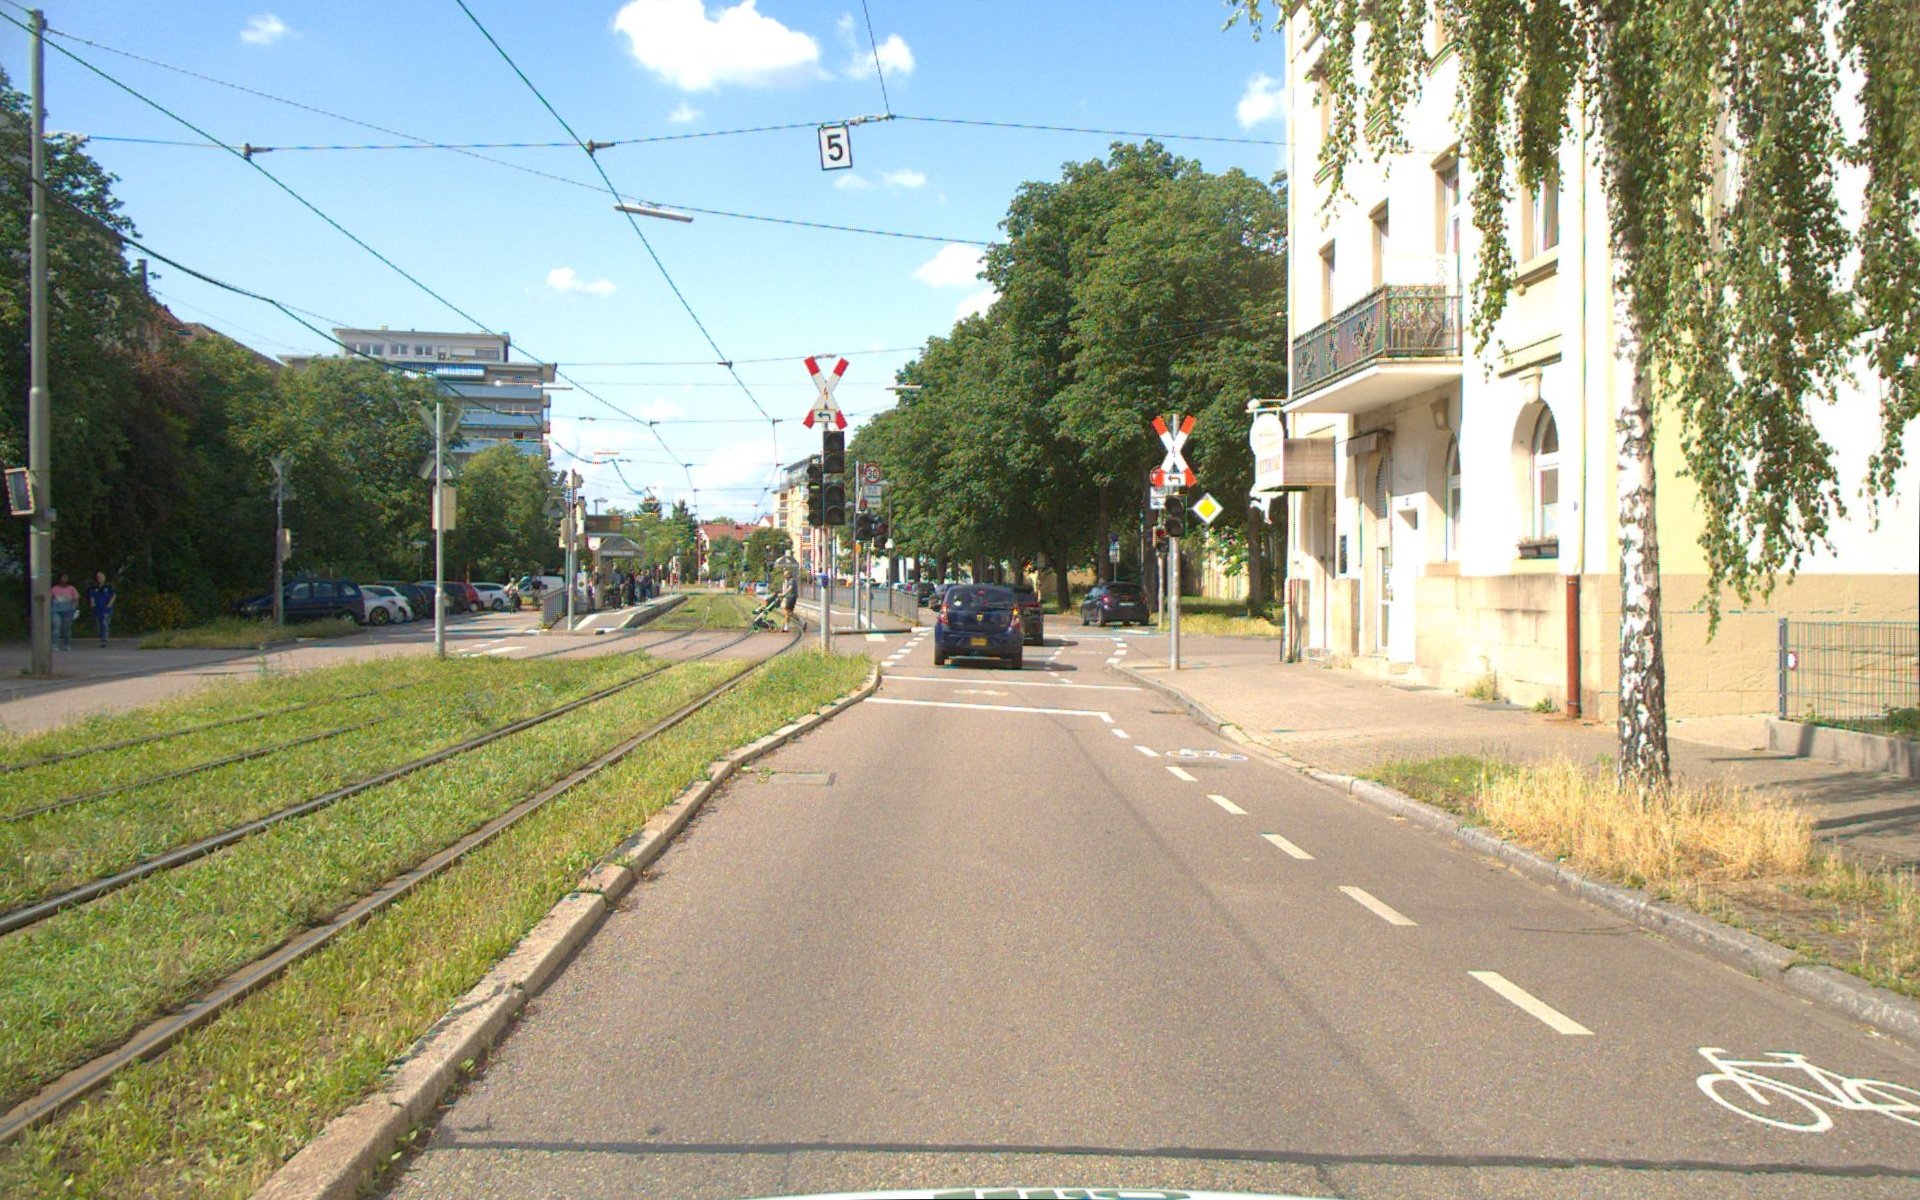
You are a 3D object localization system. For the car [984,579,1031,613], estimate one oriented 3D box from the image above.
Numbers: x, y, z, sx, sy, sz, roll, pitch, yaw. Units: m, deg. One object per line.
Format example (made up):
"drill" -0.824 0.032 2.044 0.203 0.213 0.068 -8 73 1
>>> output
"car" 2.173 -0.206 76.463 1.824 1.470 3.998 -2 1 -3

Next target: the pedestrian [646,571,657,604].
"pedestrian" -19.323 -0.810 103.480 0.649 2.049 0.801 0 0 -13

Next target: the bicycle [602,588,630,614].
"bicycle" -14.074 0.029 67.636 0.672 0.991 1.772 -3 1 2

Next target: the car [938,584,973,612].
"car" -0.253 -0.115 92.446 1.814 1.542 3.998 0 1 -3

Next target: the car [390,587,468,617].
"car" -24.461 0.076 76.268 1.427 1.332 3.234 0 1 36

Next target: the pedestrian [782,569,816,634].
"pedestrian" -4.626 0.038 47.509 0.854 1.806 1.002 -2 0 -8

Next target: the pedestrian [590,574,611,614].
"pedestrian" -14.777 -0.259 67.946 0.650 1.597 0.686 -2 0 0

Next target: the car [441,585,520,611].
"car" -26.724 -0.134 92.290 1.685 1.391 3.978 0 1 41

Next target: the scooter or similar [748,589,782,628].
"scooter or similar" -5.551 0.246 47.086 0.936 1.083 0.795 0 0 -9

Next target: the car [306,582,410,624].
"car" -22.509 0.092 61.880 1.518 1.531 3.366 0 1 44

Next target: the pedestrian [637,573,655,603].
"pedestrian" -15.255 -0.573 80.361 0.642 1.451 0.562 -1 0 29

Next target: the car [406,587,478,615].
"car" -25.757 0.050 82.285 1.427 1.332 3.234 0 1 36

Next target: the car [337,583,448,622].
"car" -23.088 0.078 67.402 1.660 1.482 3.977 0 1 42

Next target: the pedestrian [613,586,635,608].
"pedestrian" -15.350 -0.139 75.606 0.907 1.006 0.796 -1 -1 -6

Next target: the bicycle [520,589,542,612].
"bicycle" -23.134 0.053 89.265 1.135 1.198 1.781 -1 0 -14

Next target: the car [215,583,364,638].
"car" -21.405 0.294 52.891 1.695 1.669 4.107 0 1 42

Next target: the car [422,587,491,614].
"car" -26.111 0.008 85.840 1.427 1.332 3.234 0 1 36

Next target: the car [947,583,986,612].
"car" 0.315 -0.142 87.891 1.824 1.470 3.998 -2 1 -3

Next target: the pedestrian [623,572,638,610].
"pedestrian" -15.833 -0.433 79.518 0.591 1.796 0.639 0 0 1

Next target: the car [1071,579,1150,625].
"car" 4.989 0.031 55.361 1.733 1.458 3.896 -1 1 -9

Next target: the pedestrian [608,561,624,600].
"pedestrian" -15.486 -0.876 74.526 0.642 1.722 0.655 -1 0 -7

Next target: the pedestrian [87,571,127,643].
"pedestrian" -20.006 0.163 38.792 0.545 1.686 0.747 0 0 0

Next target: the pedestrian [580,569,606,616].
"pedestrian" -13.928 -0.287 62.841 0.699 1.756 0.666 0 0 34

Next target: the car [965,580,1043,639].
"car" 1.050 0.210 41.367 1.666 1.392 3.513 1 0 -3

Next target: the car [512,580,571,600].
"car" -29.668 -0.705 117.260 1.607 1.410 3.984 0 1 37

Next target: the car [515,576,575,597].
"car" -30.709 -1.017 122.412 3.967 1.472 1.701 -1 1 -43

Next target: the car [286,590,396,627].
"car" -21.956 0.280 58.771 1.517 1.258 3.368 0 1 42

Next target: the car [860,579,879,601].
"car" -7.862 -0.882 143.501 1.634 1.803 3.997 0 1 -4

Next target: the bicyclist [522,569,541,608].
"bicyclist" -23.118 -0.630 89.228 0.932 2.049 1.570 0 0 -15

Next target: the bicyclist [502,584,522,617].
"bicyclist" -22.138 0.017 81.751 0.769 1.609 0.863 -1 0 -5

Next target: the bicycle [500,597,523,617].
"bicycle" -22.180 0.338 81.848 0.667 0.988 2.177 -1 1 -4

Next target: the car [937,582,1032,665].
"car" 0.432 0.405 31.933 1.732 1.487 3.775 0 1 -1

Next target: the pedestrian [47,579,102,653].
"pedestrian" -19.538 0.356 36.502 0.730 1.601 0.889 0 -1 0

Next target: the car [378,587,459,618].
"car" -24.065 0.097 73.602 1.426 1.332 3.237 0 1 34
